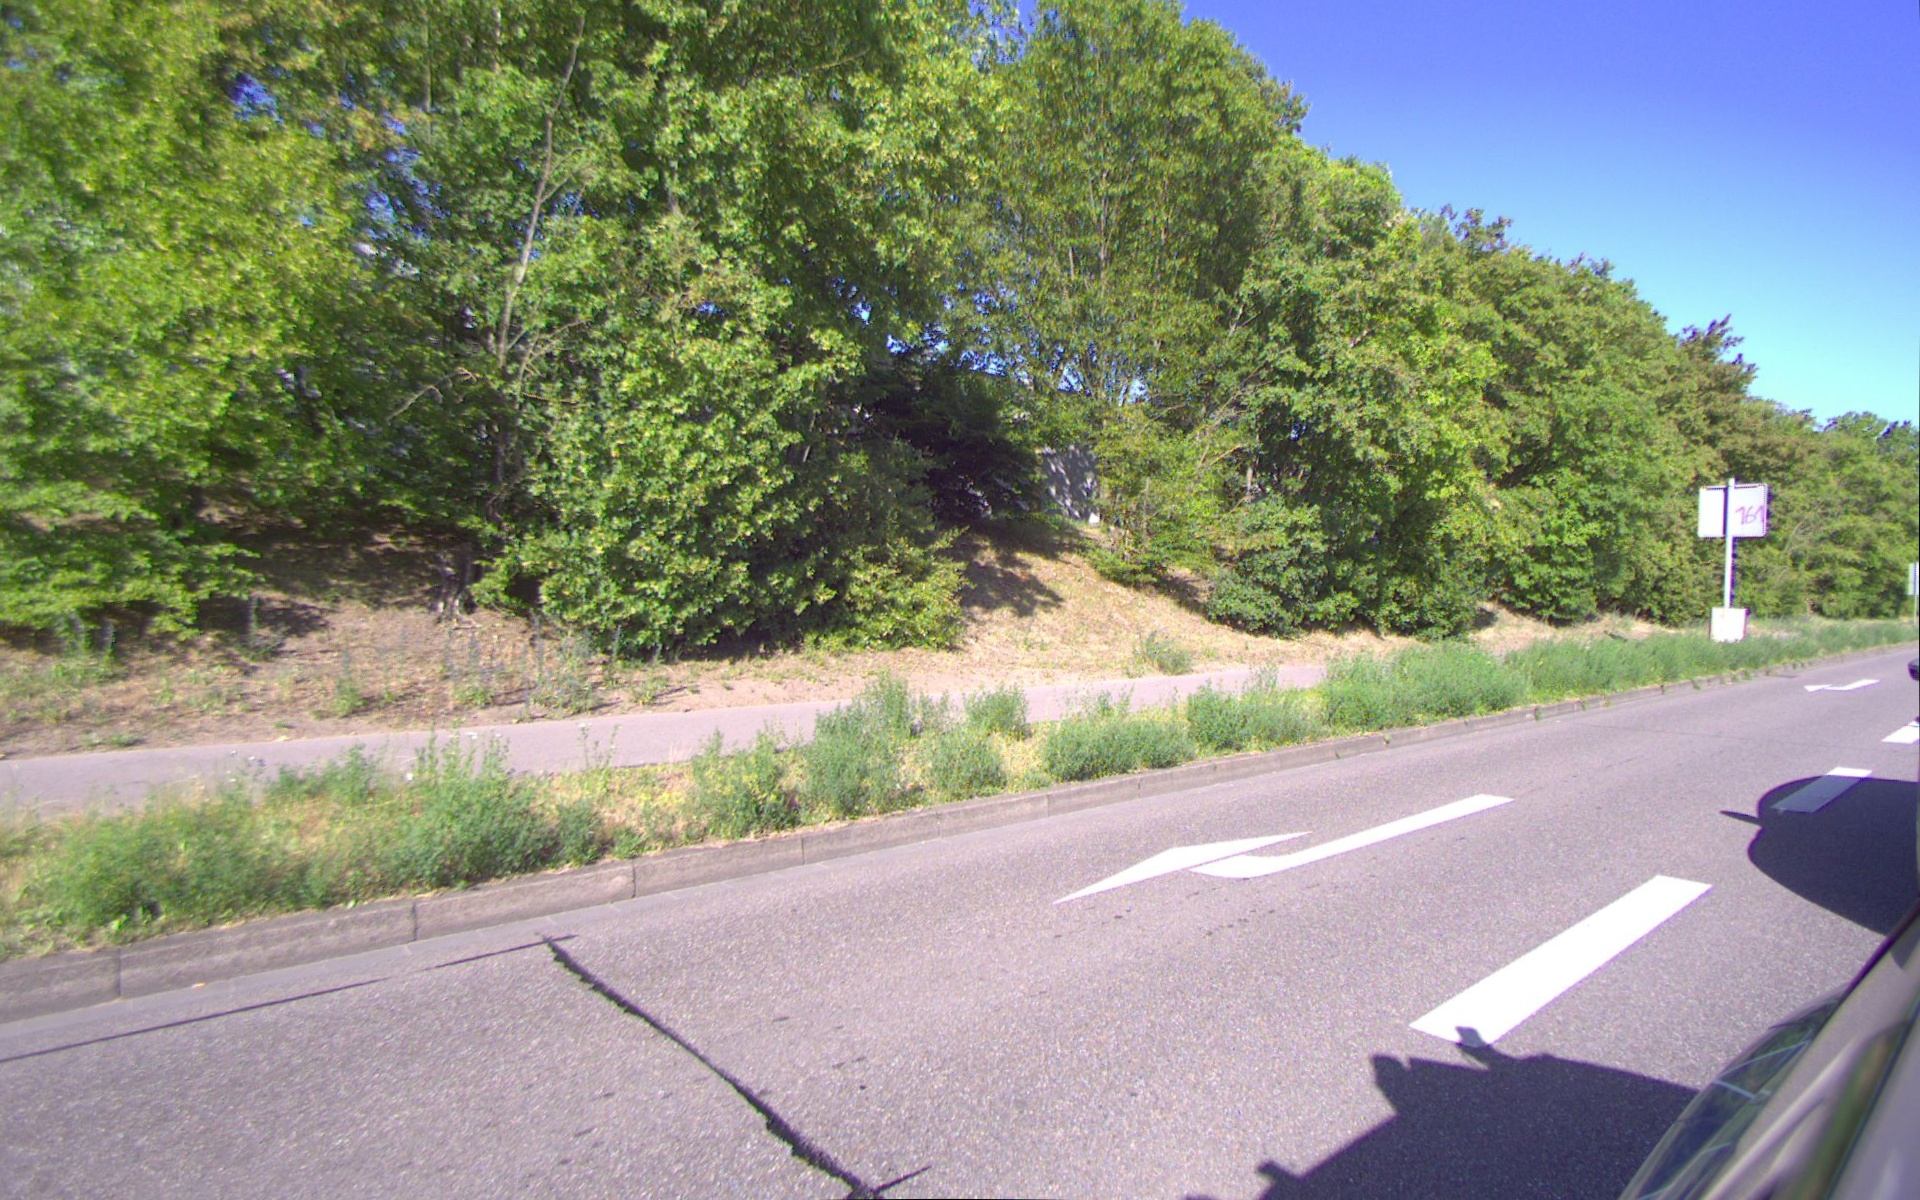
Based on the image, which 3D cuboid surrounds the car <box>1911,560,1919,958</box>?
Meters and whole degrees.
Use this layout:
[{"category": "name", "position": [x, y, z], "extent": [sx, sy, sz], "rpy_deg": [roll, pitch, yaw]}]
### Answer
[{"category": "car", "position": [5.952, 0.661, 4.688], "extent": [3.863, 1.617, 1.869], "rpy_deg": [0, 0, -41]}]
